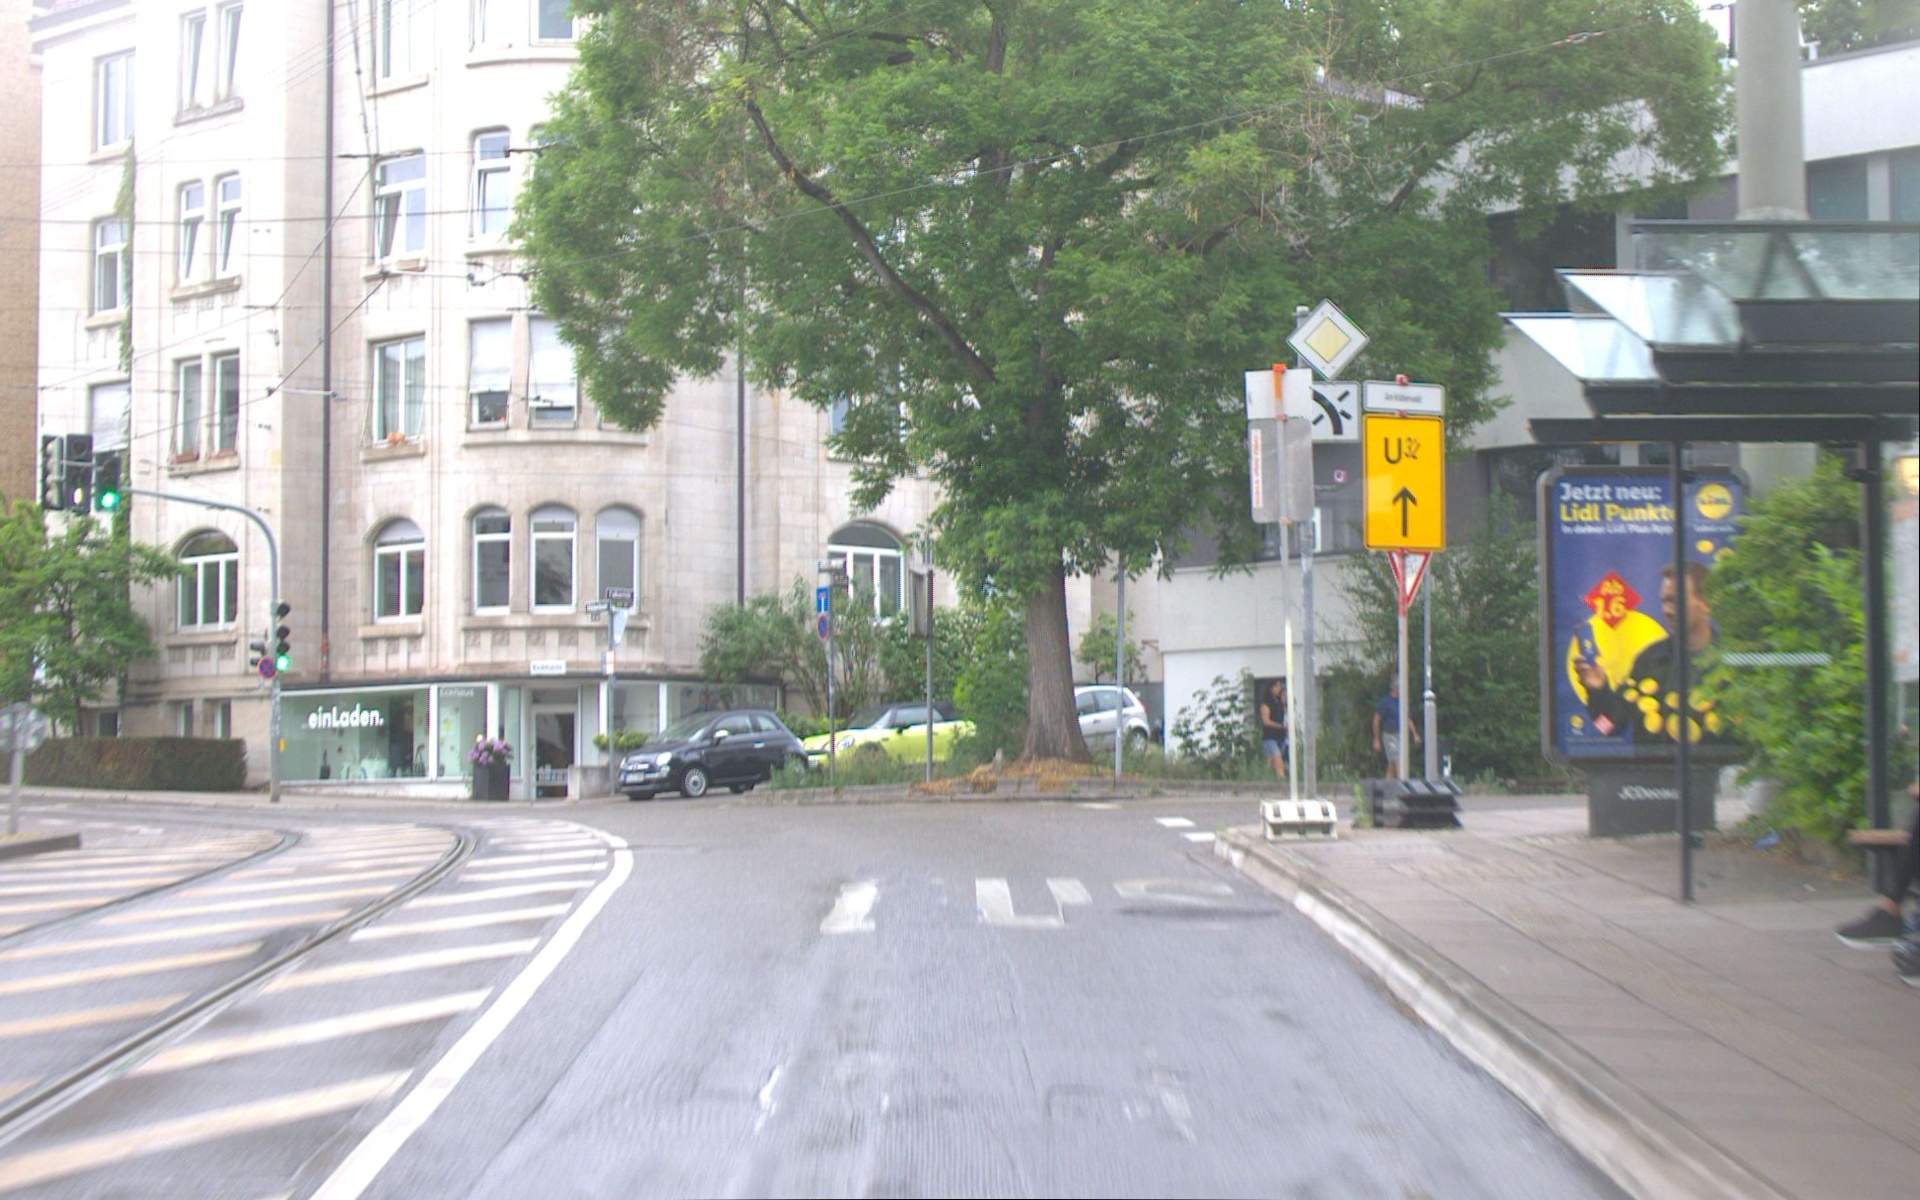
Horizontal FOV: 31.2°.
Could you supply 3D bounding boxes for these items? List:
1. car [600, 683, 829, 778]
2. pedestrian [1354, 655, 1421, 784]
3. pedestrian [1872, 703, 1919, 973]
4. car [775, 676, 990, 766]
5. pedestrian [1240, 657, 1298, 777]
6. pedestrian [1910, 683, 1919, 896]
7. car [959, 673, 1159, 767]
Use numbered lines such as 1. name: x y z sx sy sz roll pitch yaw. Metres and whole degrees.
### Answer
1. car: -4.268 2.253 59.962 3.660 1.503 1.737 -1 -1 -42
2. pedestrian: 5.481 1.531 44.071 0.544 1.624 0.601 2 0 -33
3. pedestrian: 3.691 0.890 13.021 0.325 0.992 0.318 -3 0 -4
4. car: -1.402 2.195 62.876 3.660 1.503 1.737 -1 -1 -42
5. pedestrian: 4.074 1.540 45.366 0.599 1.560 0.546 2 0 -10
6. pedestrian: 3.715 0.874 12.573 0.325 1.146 0.318 -3 0 -4
7. car: 1.914 2.276 65.750 1.622 1.503 3.764 -6 -2 44
